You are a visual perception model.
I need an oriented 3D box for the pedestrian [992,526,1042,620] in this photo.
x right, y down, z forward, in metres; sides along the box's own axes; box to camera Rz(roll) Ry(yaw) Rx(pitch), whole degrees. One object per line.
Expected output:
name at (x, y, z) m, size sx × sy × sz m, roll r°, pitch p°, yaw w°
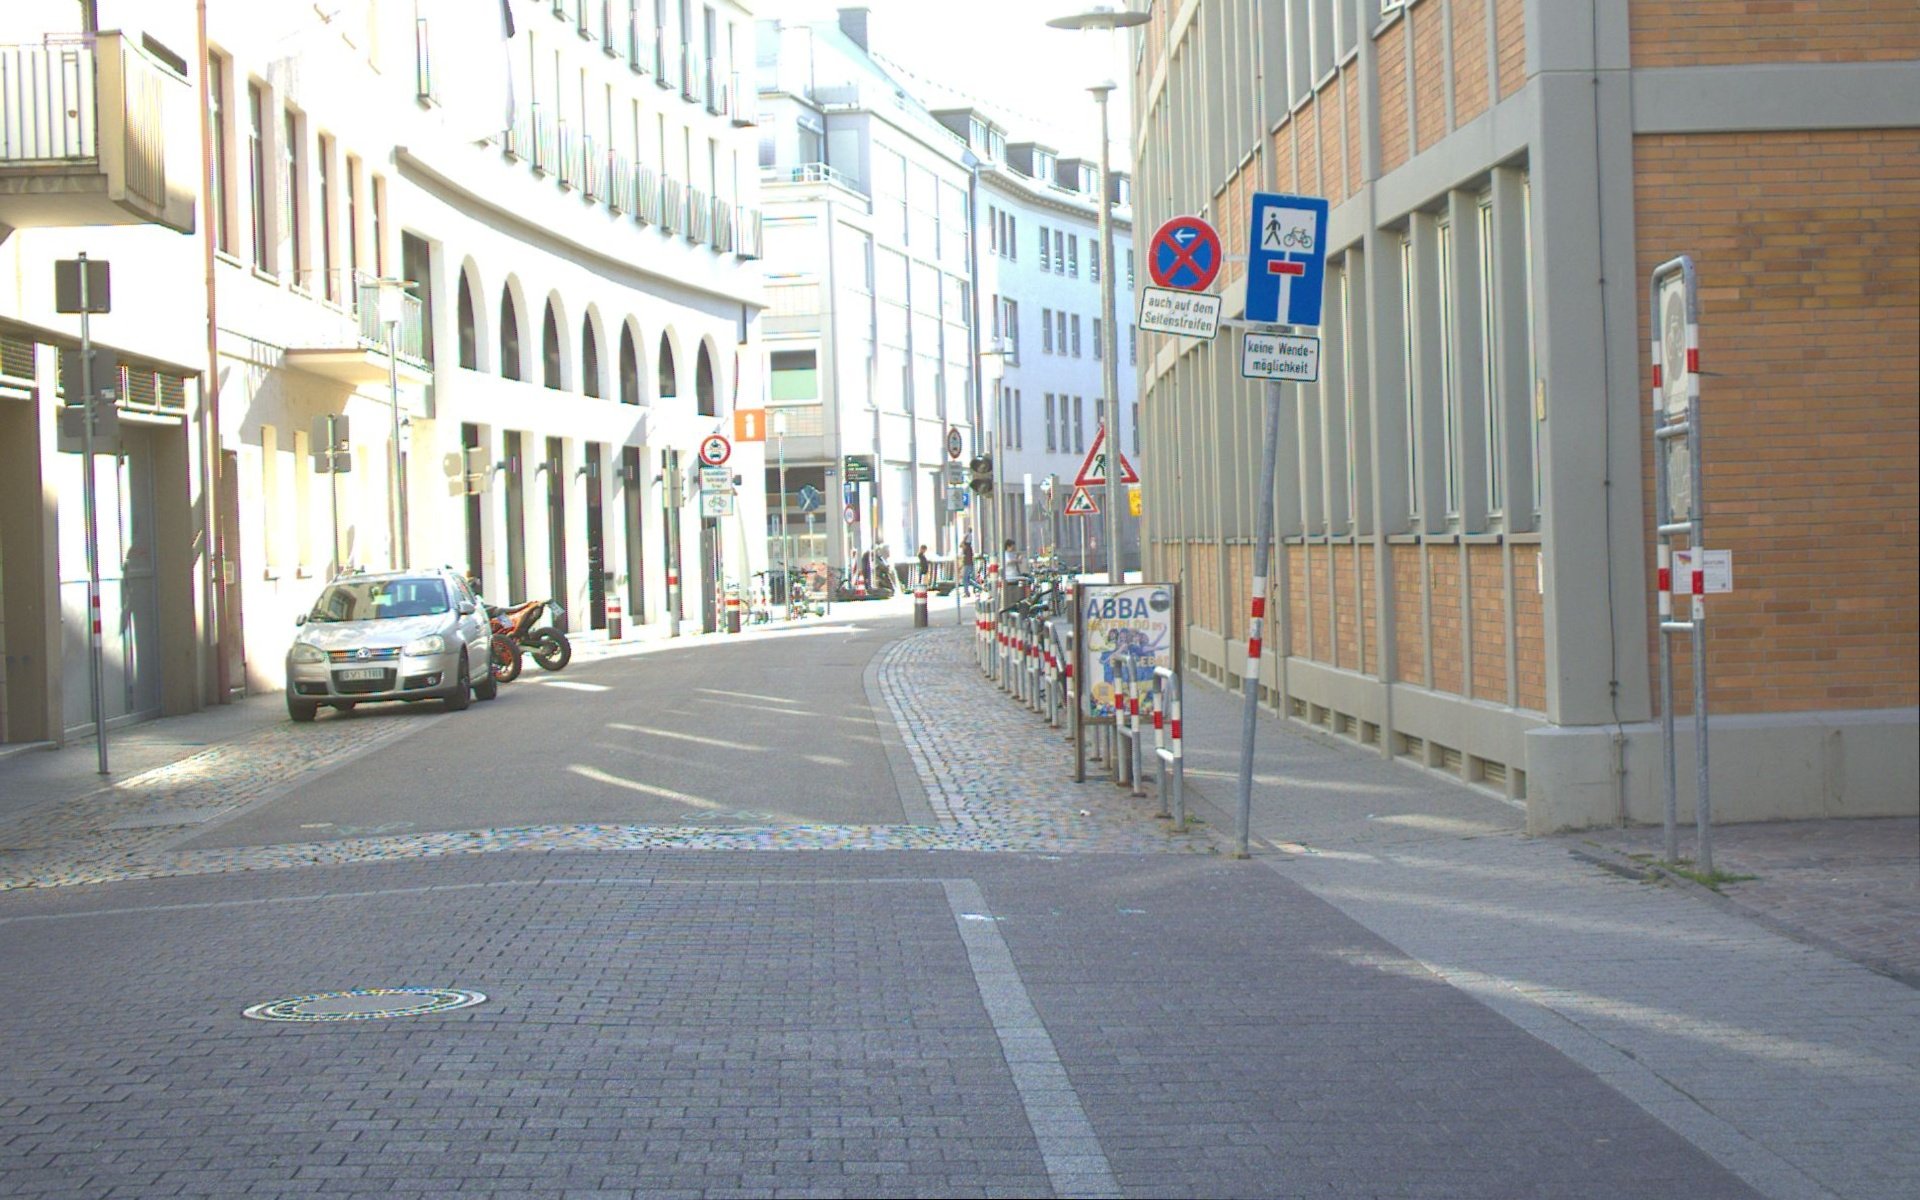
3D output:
pedestrian at (1.140, -0.541, 68.652) m, size 0.659 × 1.862 × 0.786 m, roll 0°, pitch 0°, yaw -32°

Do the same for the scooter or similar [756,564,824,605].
scooter or similar at (-4.011, -0.370, 81.312) m, size 0.526 × 0.925 × 2.224 m, roll 0°, pitch 1°, yaw 28°

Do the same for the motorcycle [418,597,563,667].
motorcycle at (-5.795, 0.393, 42.490) m, size 1.691 × 0.856 × 0.594 m, roll 0°, pitch 0°, yaw 3°

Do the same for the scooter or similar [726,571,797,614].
scooter or similar at (-4.475, -0.174, 77.557) m, size 0.526 × 0.925 × 2.224 m, roll 0°, pitch 1°, yaw 28°

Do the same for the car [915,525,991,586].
car at (-0.178, -1.282, 97.714) m, size 1.737 × 1.600 × 3.532 m, roll -3°, pitch 1°, yaw 6°

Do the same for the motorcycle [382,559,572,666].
motorcycle at (-6.484, 0.163, 46.262) m, size 2.390 × 1.312 × 0.862 m, roll -3°, pitch 1°, yaw -2°

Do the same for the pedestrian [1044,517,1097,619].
pedestrian at (2.047, -0.585, 63.433) m, size 0.659 × 1.862 × 0.761 m, roll 0°, pitch 0°, yaw -32°

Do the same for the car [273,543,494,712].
car at (-5.827, 0.237, 35.101) m, size 1.736 × 1.600 × 3.533 m, roll -1°, pitch 1°, yaw -2°
